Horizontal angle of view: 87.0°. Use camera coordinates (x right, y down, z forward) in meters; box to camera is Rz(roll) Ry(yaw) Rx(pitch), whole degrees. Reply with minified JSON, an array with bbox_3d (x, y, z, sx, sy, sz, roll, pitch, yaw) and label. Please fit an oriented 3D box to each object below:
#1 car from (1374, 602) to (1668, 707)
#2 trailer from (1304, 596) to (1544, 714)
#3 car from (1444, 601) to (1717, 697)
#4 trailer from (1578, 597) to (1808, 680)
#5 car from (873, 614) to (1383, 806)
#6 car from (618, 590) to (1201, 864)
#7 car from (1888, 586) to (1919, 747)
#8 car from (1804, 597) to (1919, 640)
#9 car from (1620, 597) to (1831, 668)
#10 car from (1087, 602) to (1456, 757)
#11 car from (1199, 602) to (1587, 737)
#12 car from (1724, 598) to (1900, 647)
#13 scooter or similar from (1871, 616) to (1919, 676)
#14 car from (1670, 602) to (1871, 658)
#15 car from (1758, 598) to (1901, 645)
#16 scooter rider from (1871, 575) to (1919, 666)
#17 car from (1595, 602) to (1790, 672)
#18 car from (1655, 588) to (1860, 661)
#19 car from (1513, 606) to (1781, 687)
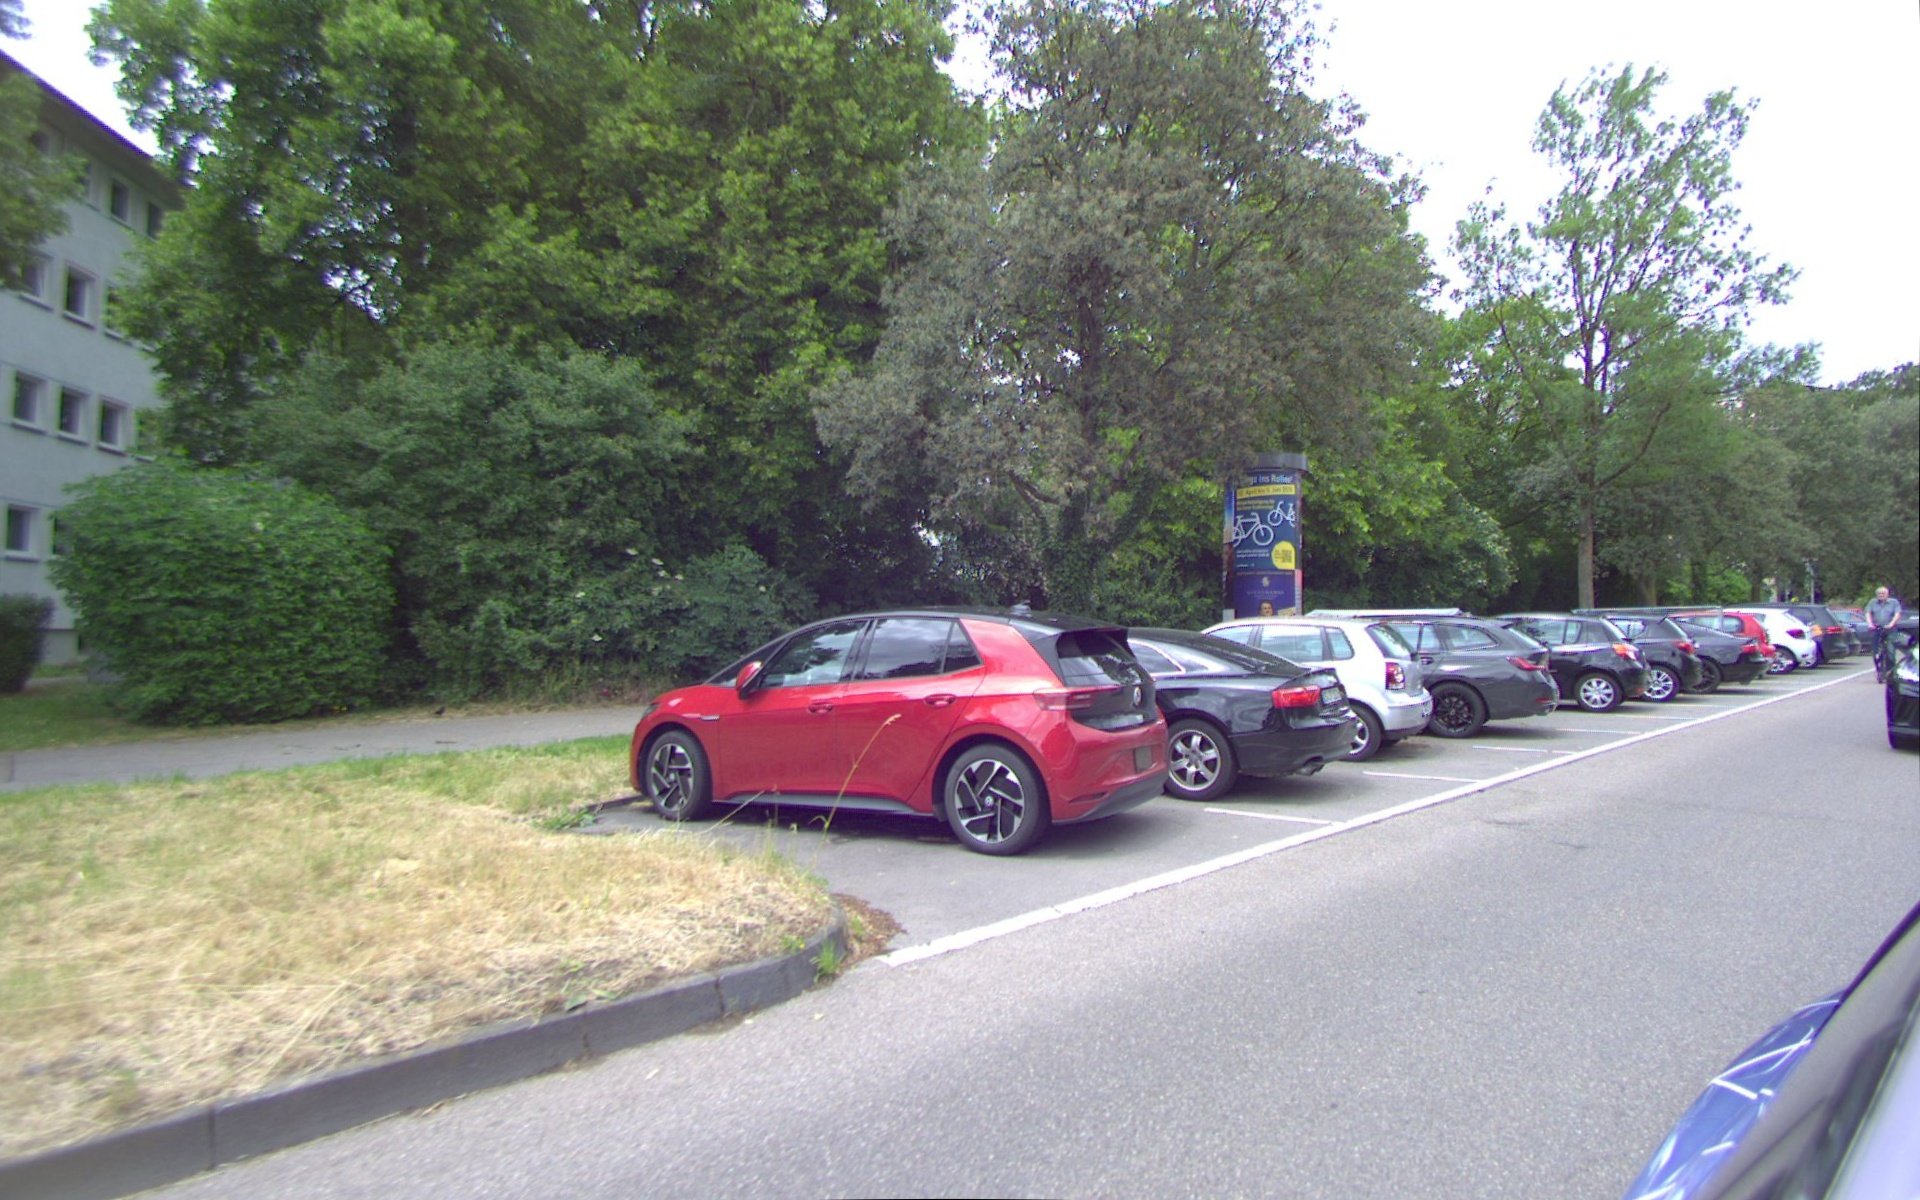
[{"bbox_3d":[8.811,0.822,16.052,3.833,1.474,1.611,-2,-2,40],"label":"car"},{"bbox_3d":[6.766,0.780,14.871,2.978,1.562,1.285,-2,-2,37],"label":"trailer"},{"bbox_3d":[10.763,0.816,17.676,3.902,1.506,1.596,-2,-2,38],"label":"car"},{"bbox_3d":[15.054,0.796,20.915,3.680,1.555,1.623,-3,-2,39],"label":"trailer"},{"bbox_3d":[1.385,0.860,9.258,4.300,1.358,1.711,-2,-1,36],"label":"car"},{"bbox_3d":[-0.462,0.748,7.481,4.050,1.535,1.715,-1,-1,31],"label":"car"},{"bbox_3d":[11.430,0.641,10.682,4.221,1.570,1.803,0,-1,-39],"label":"car"},{"bbox_3d":[33.546,0.679,36.928,4.126,1.495,1.554,-2,-2,39],"label":"car"},{"bbox_3d":[18.356,0.764,24.386,1.579,1.549,3.822,0,-1,-44],"label":"car"},{"bbox_3d":[3.388,0.800,11.247,3.597,1.464,1.614,-2,-2,35],"label":"car"},{"bbox_3d":[5.410,0.826,12.891,4.324,1.464,1.615,-2,-2,32],"label":"car"},{"bbox_3d":[27.300,0.734,32.575,4.215,1.483,1.610,-2,-2,42],"label":"car"},{"bbox_3d":[18.727,0.906,20.232,0.681,1.154,1.436,-2,-2,44],"label":"scooter or similar"},{"bbox_3d":[22.127,0.822,27.805,4.152,1.425,1.674,-2,-1,39],"label":"car"},{"bbox_3d":[29.319,0.737,34.261,3.515,1.495,1.570,-2,-2,38],"label":"car"},{"bbox_3d":[18.700,0.403,20.196,0.681,1.752,1.177,-2,-2,45],"label":"scooter rider"},{"bbox_3d":[16.434,0.818,22.810,3.416,1.464,1.538,-2,-1,38],"label":"car"},{"bbox_3d":[20.294,0.632,25.920,3.977,1.747,1.657,-2,-1,39],"label":"car"},{"bbox_3d":[12.836,0.846,19.075,4.028,1.344,1.538,-2,-1,39],"label":"car"}]
